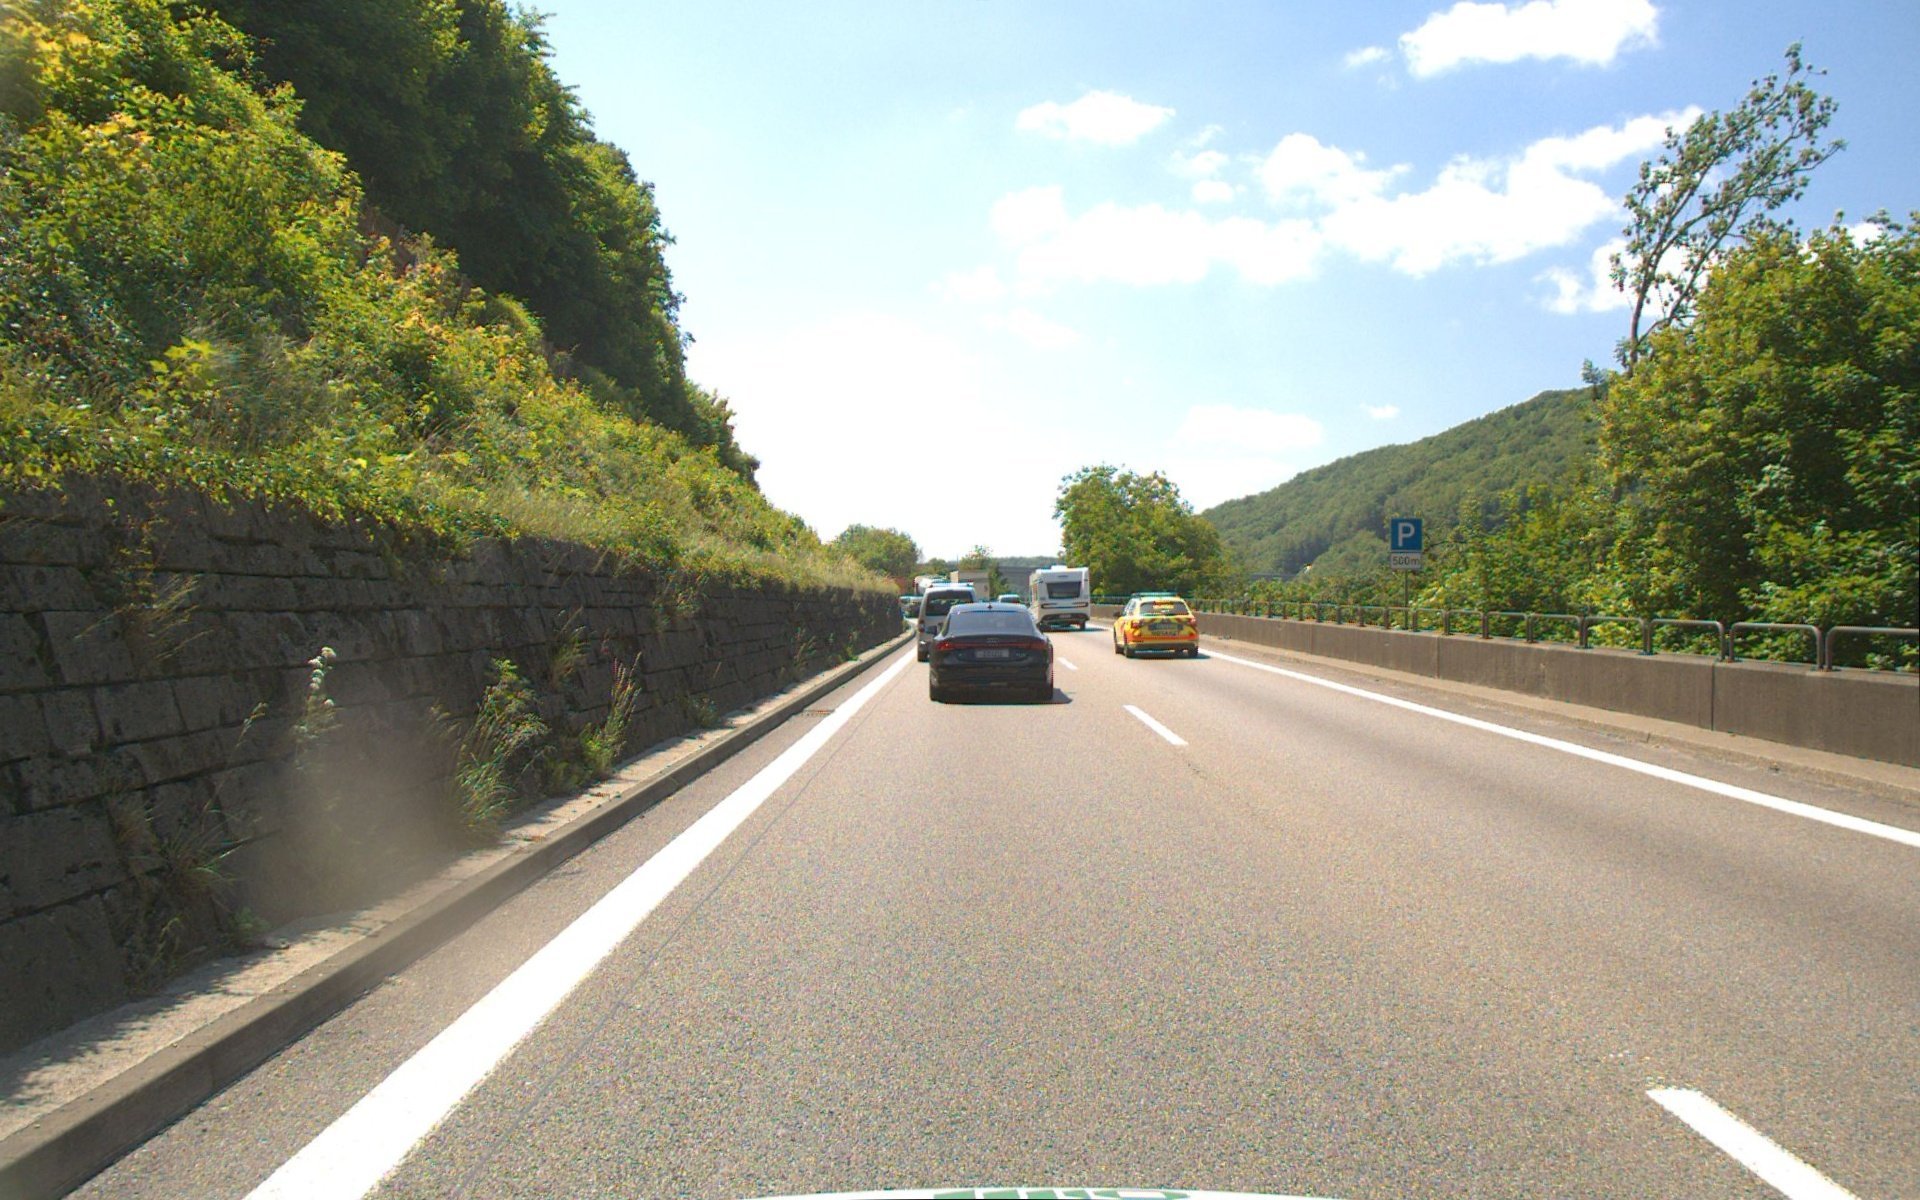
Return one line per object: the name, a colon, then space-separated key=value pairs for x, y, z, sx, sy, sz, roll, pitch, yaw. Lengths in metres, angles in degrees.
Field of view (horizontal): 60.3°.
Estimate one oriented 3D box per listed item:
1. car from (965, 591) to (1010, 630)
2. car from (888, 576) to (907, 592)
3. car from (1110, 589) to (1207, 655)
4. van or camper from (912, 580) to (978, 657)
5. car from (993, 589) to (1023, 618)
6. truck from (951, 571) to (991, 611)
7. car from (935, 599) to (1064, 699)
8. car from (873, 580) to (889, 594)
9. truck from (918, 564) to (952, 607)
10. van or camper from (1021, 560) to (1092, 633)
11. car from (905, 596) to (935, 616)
car: x=1.198 y=0.468 z=73.521 sx=1.738 sy=1.665 sz=3.997 roll=0 pitch=-1 yaw=-3
car: x=-8.258 y=-2.097 z=217.882 sx=1.956 sy=2.049 sz=3.992 roll=1 pitch=0 yaw=-9
car: x=4.893 y=0.560 z=41.256 sx=1.825 sy=1.514 sz=3.999 roll=2 pitch=-1 yaw=-1
van or camper: x=-0.418 y=0.474 z=42.168 sx=1.364 sy=1.847 sz=3.996 roll=2 pitch=-1 yaw=-4
car: x=3.031 y=0.207 z=105.005 sx=1.803 sy=1.747 sz=4.000 roll=0 pitch=0 yaw=-1
truck: x=0.828 y=-0.753 z=135.166 sx=2.784 sy=3.186 sz=7.474 roll=0 pitch=0 yaw=-3
car: x=0.543 y=0.723 z=25.569 sx=1.800 sy=1.373 sz=3.999 roll=2 pitch=-1 yaw=-1
car: x=-11.640 y=-1.920 z=244.676 sx=1.956 sy=2.049 sz=3.992 roll=0 pitch=0 yaw=-9
truck: x=-2.565 y=-1.455 z=166.102 sx=2.680 sy=4.168 sz=7.469 roll=0 pitch=0 yaw=-6
van or camper: x=4.135 y=-0.118 z=72.106 sx=2.406 sy=2.969 sz=6.122 roll=2 pitch=-1 yaw=-2
car: x=-3.162 y=0.432 z=130.090 sx=1.955 sy=1.489 sz=3.995 roll=1 pitch=0 yaw=-6
